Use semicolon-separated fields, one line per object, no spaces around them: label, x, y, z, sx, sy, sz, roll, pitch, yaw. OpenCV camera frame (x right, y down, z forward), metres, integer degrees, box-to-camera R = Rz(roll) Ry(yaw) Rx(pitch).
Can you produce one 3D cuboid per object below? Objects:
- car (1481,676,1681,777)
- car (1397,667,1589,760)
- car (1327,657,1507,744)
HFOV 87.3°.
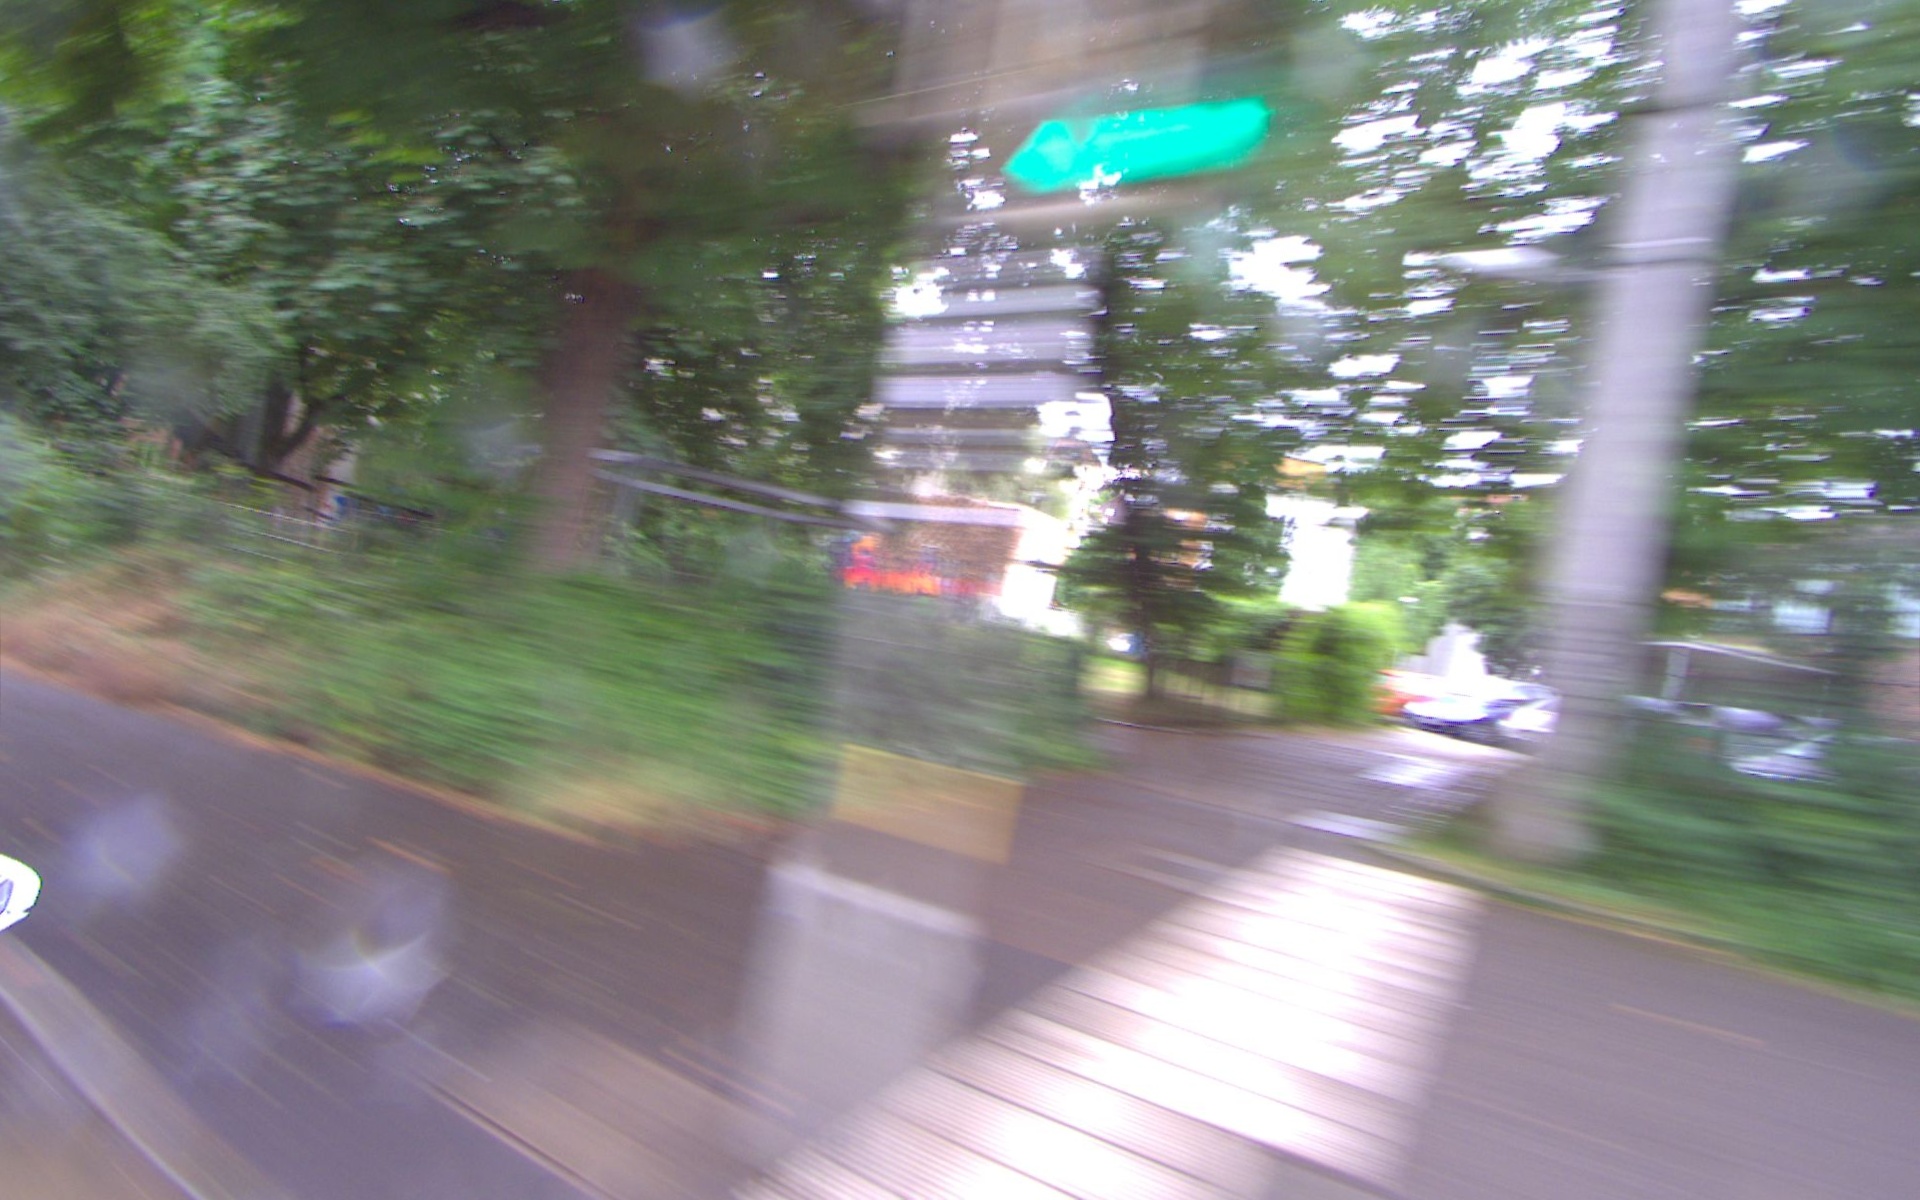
car;13.930;2.846;22.549;3.954;1.750;1.985;7;0;-29
car;13.076;2.786;24.683;4.068;1.750;1.987;7;0;-26
car;12.224;2.693;26.941;4.062;1.750;1.990;7;0;-21
